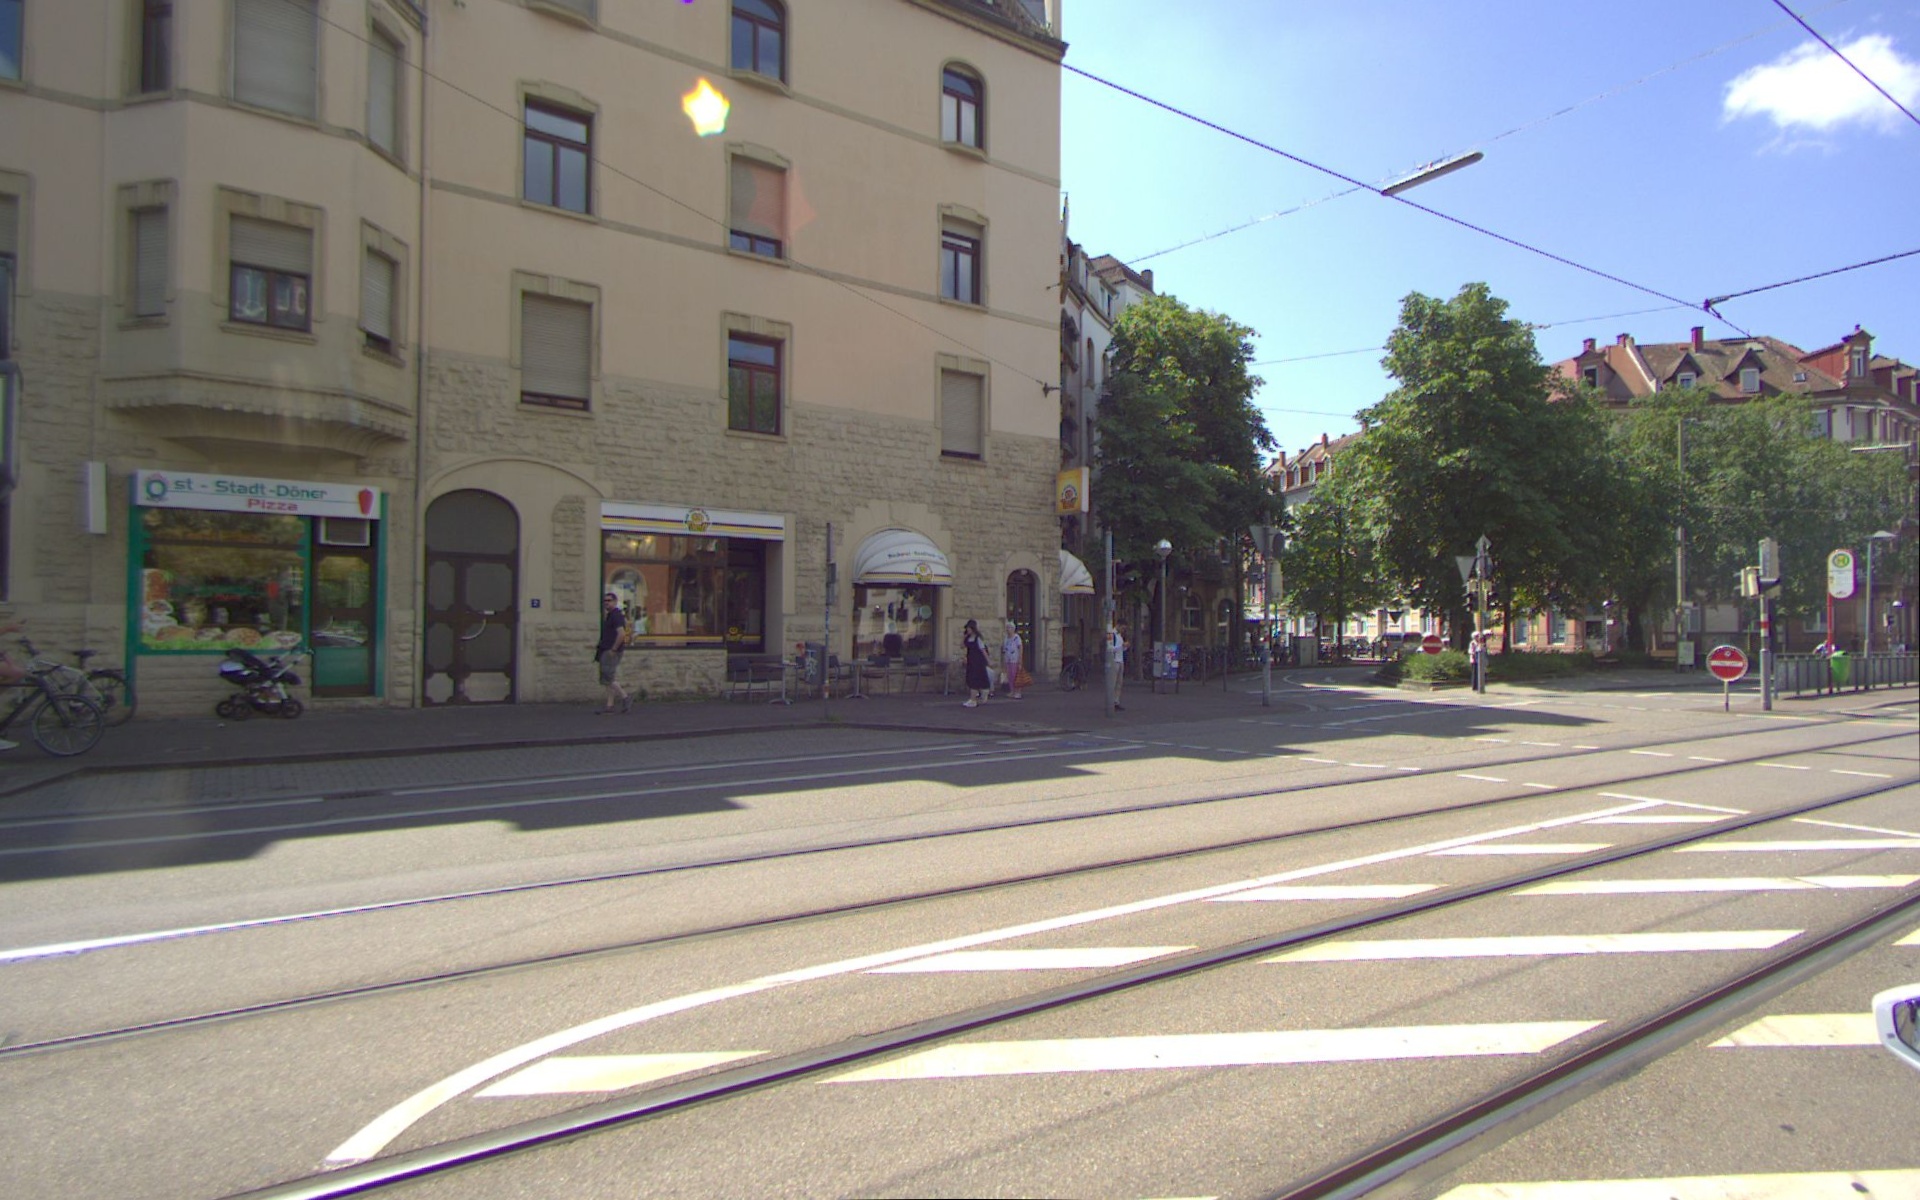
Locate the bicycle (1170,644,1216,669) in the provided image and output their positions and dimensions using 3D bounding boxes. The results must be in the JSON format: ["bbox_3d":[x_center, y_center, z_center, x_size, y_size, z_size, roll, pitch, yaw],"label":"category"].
[{"bbox_3d":[9.922,2.385,42.776,1.825,1.046,0.543,-1,-2,35],"label":"bicycle"}]

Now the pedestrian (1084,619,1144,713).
[{"bbox_3d":[2.983,1.258,19.455,0.767,1.755,0.855,1,-1,-32],"label":"pedestrian"}]

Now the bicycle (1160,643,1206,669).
[{"bbox_3d":[9.337,2.331,42.027,1.825,1.046,0.542,-1,-2,35],"label":"bicycle"}]

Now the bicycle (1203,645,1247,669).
[{"bbox_3d":[11.744,2.530,44.613,1.825,1.046,0.542,-1,-2,35],"label":"bicycle"}]

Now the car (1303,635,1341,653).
[{"bbox_3d":[31.133,3.777,86.518,1.654,1.491,3.466,0,-2,-8],"label":"car"}]

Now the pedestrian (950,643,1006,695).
[{"bbox_3d":[0.396,1.487,21.822,0.873,1.092,0.911,1,-2,-32],"label":"pedestrian"}]

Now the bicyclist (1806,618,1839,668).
[{"bbox_3d":[32.768,1.631,38.170,0.816,1.895,0.718,1,-2,-33],"label":"bicyclist"}]

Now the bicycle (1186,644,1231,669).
[{"bbox_3d":[10.748,2.454,43.517,1.825,1.046,0.542,-1,-2,35],"label":"bicycle"}]

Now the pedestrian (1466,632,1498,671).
[{"bbox_3d":[25.770,2.543,49.578,1.001,1.893,0.999,1,-2,-16],"label":"pedestrian"}]

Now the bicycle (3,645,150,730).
[{"bbox_3d":[-11.724,1.160,13.361,1.439,1.080,0.370,2,-1,-10],"label":"bicycle"}]

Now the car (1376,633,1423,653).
[{"bbox_3d":[32.976,3.227,75.449,1.654,1.491,3.466,0,-2,-8],"label":"car"}]

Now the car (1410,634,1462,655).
[{"bbox_3d":[33.925,3.178,71.682,1.654,1.491,3.466,0,-2,-8],"label":"car"}]

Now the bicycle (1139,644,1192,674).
[{"bbox_3d":[7.447,2.139,36.415,1.818,1.046,0.545,0,-2,16],"label":"bicycle"}]

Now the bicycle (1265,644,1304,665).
[{"bbox_3d":[16.496,2.758,51.100,1.825,1.046,0.543,-1,-2,35],"label":"bicycle"}]

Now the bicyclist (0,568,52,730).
[{"bbox_3d":[-10.367,0.519,10.742,0.822,1.685,0.752,1,-2,-33],"label":"bicyclist"}]

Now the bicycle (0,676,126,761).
[{"bbox_3d":[-10.201,1.270,10.819,1.802,0.828,0.747,2,-1,-35],"label":"bicycle"}]

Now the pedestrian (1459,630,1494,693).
[{"bbox_3d":[14.569,1.712,28.356,0.825,1.745,0.918,-1,-2,26],"label":"pedestrian"}]

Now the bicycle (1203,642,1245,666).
[{"bbox_3d":[12.160,2.489,46.294,1.825,1.046,0.543,-1,-2,35],"label":"bicycle"}]

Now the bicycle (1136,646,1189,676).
[{"bbox_3d":[7.179,2.146,35.632,1.819,1.046,0.544,0,-2,17],"label":"bicycle"}]

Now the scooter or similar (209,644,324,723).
[{"bbox_3d":[-10.124,1.194,14.706,0.682,1.058,1.210,1,-1,16],"label":"scooter or similar"}]

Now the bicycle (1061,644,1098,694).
[{"bbox_3d":[2.892,1.659,24.247,0.533,1.143,1.683,0,-4,19],"label":"bicycle"}]

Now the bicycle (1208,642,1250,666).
[{"bbox_3d":[12.541,2.507,46.787,1.825,1.046,0.543,-1,-2,35],"label":"bicycle"}]

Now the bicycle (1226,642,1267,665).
[{"bbox_3d":[13.784,2.573,48.286,1.825,1.046,0.543,-1,-2,35],"label":"bicycle"}]

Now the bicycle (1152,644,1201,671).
[{"bbox_3d":[8.312,2.202,38.613,1.818,1.046,0.545,0,-2,7],"label":"bicycle"}]

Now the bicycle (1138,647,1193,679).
[{"bbox_3d":[6.718,2.055,32.882,1.697,1.046,0.544,0,-2,0],"label":"bicycle"}]

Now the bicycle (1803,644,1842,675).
[{"bbox_3d":[32.727,2.242,38.101,1.698,1.116,0.724,2,-2,-35],"label":"bicycle"}]

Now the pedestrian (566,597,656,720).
[{"bbox_3d":[-5.649,0.916,16.253,1.153,1.916,0.895,1,0,-34],"label":"pedestrian"}]

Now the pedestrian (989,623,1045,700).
[{"bbox_3d":[1.215,1.308,21.596,0.910,1.615,0.801,1,-2,-35],"label":"pedestrian"}]

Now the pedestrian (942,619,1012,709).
[{"bbox_3d":[0.327,1.220,19.440,1.016,1.657,0.854,2,0,-35],"label":"pedestrian"}]

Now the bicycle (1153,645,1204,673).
[{"bbox_3d":[8.234,2.216,37.911,1.818,1.046,0.545,0,-2,7],"label":"bicycle"}]

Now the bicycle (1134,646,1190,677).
[{"bbox_3d":[6.889,2.085,34.267,1.819,1.046,0.544,0,-2,0],"label":"bicycle"}]

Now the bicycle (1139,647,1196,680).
[{"bbox_3d":[6.640,2.040,32.203,1.697,1.046,0.544,0,-2,0],"label":"bicycle"}]

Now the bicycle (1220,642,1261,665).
[{"bbox_3d":[13.275,2.539,47.547,1.825,1.046,0.543,-1,-2,35],"label":"bicycle"}]

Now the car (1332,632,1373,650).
[{"bbox_3d":[31.920,3.335,81.732,1.654,1.491,3.466,0,-2,-8],"label":"car"}]
